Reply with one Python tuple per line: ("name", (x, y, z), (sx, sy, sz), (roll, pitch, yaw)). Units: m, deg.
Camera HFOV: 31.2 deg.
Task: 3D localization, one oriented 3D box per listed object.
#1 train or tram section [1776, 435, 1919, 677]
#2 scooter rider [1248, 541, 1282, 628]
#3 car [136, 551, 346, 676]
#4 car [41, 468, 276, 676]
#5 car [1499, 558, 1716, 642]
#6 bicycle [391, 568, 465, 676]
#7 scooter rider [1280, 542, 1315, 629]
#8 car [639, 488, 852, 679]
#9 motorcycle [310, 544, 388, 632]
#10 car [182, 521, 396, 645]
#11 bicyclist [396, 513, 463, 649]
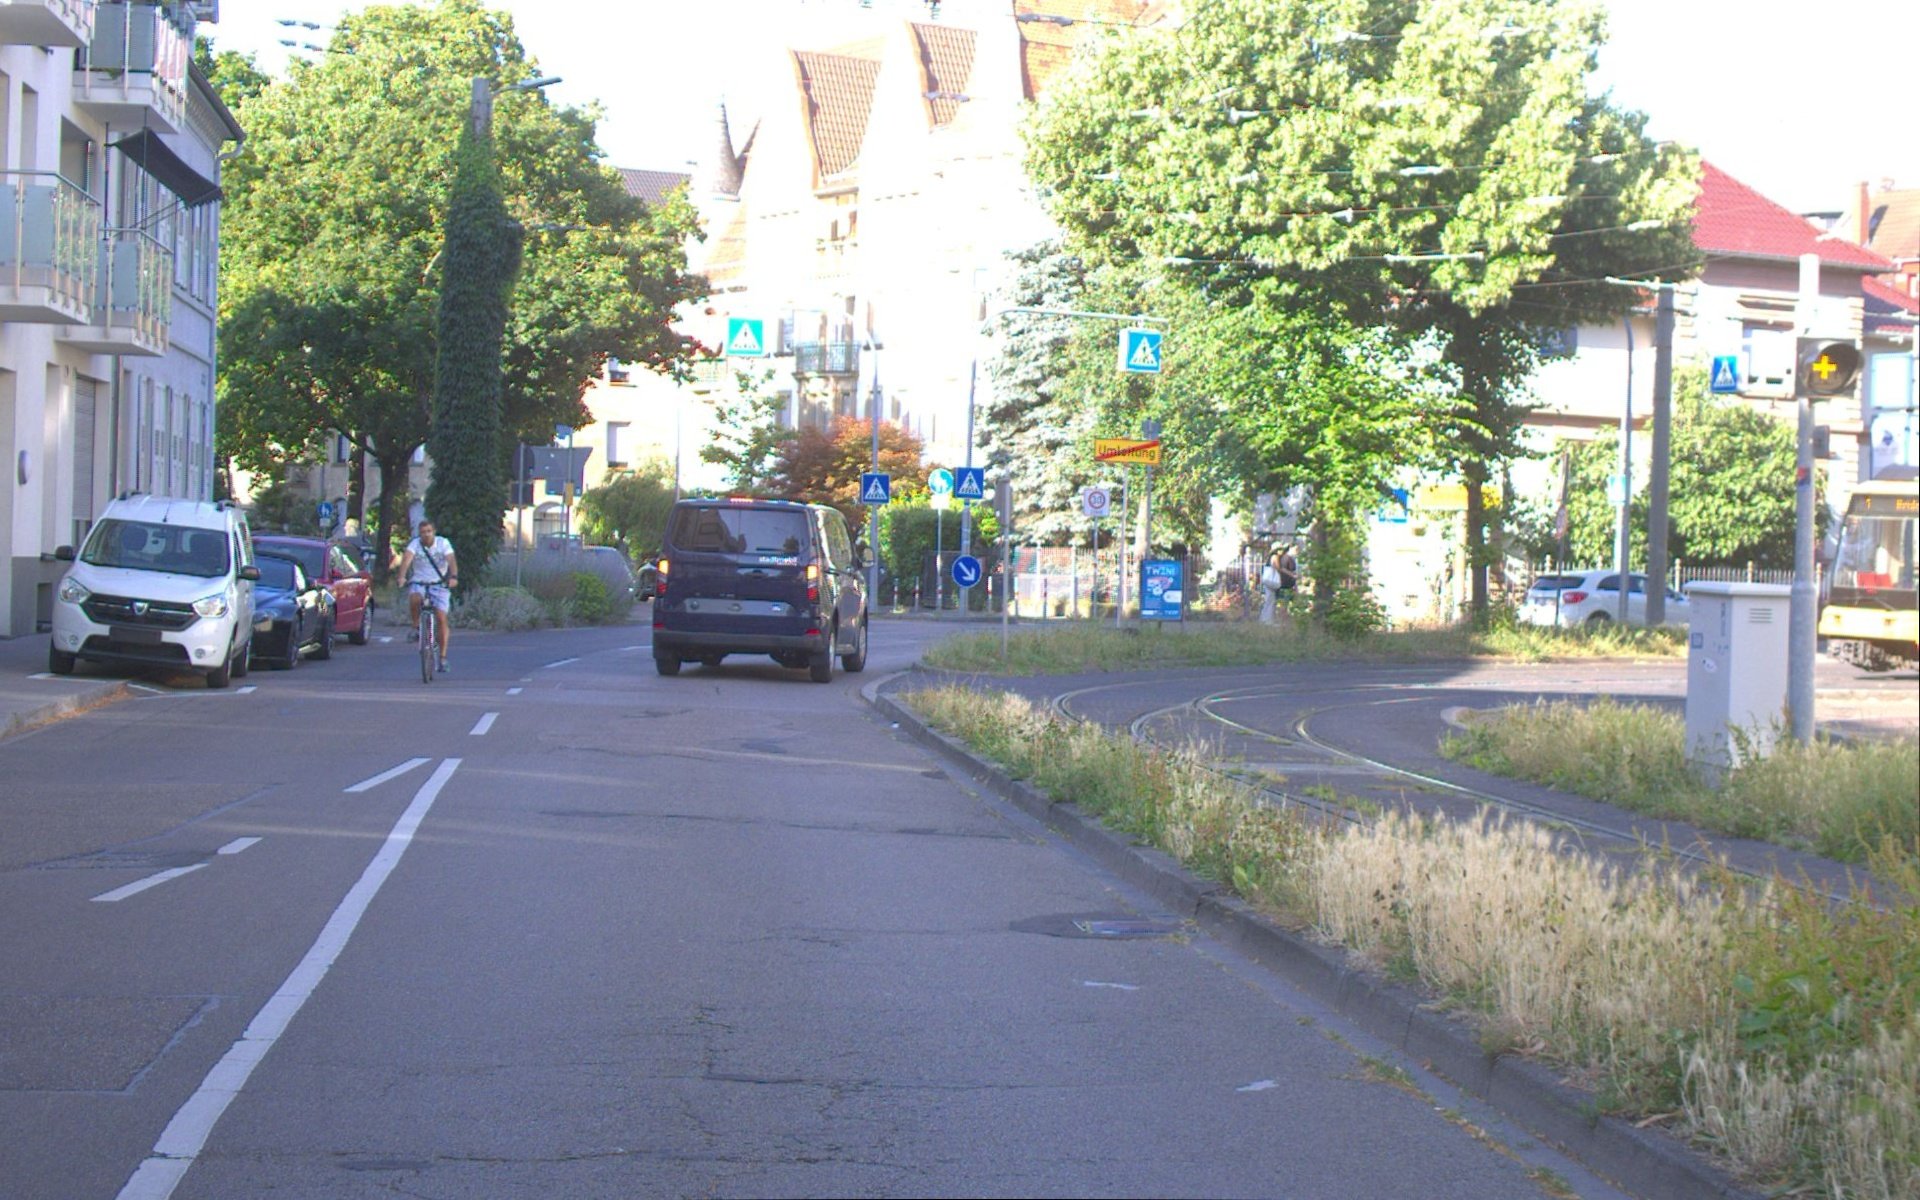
("train or tram section", (17.433, -0.642, 54.063), (9.887, 3.543, 2.784), (1, 1, -33))
("scooter rider", (5.893, -0.298, 66.411), (0.606, 1.667, 0.655), (1, 1, 2))
("car", (-8.210, 0.133, 39.547), (1.664, 1.269, 4.026), (3, 0, -3))
("car", (-7.975, -0.288, 34.536), (1.810, 1.863, 4.333), (3, 0, -8))
("car", (12.191, -0.025, 64.714), (3.673, 1.500, 1.965), (-1, 1, -32))
("bicycle", (-5.451, 0.210, 35.276), (0.622, 1.078, 1.784), (0, 1, -5))
("scooter rider", (6.513, -0.284, 66.399), (0.606, 1.667, 0.655), (1, 1, 2))
("car", (-2.385, -0.226, 39.176), (1.993, 2.007, 4.000), (2, 1, 2))
("motorcycle", (-9.751, -0.206, 54.792), (0.930, 1.353, 2.565), (2, 0, -16))
("car", (-8.832, -0.266, 45.583), (1.709, 1.461, 4.592), (3, 2, 2))
("bicyclist", (-5.454, -0.195, 35.365), (0.622, 1.375, 0.801), (0, 0, -5))
